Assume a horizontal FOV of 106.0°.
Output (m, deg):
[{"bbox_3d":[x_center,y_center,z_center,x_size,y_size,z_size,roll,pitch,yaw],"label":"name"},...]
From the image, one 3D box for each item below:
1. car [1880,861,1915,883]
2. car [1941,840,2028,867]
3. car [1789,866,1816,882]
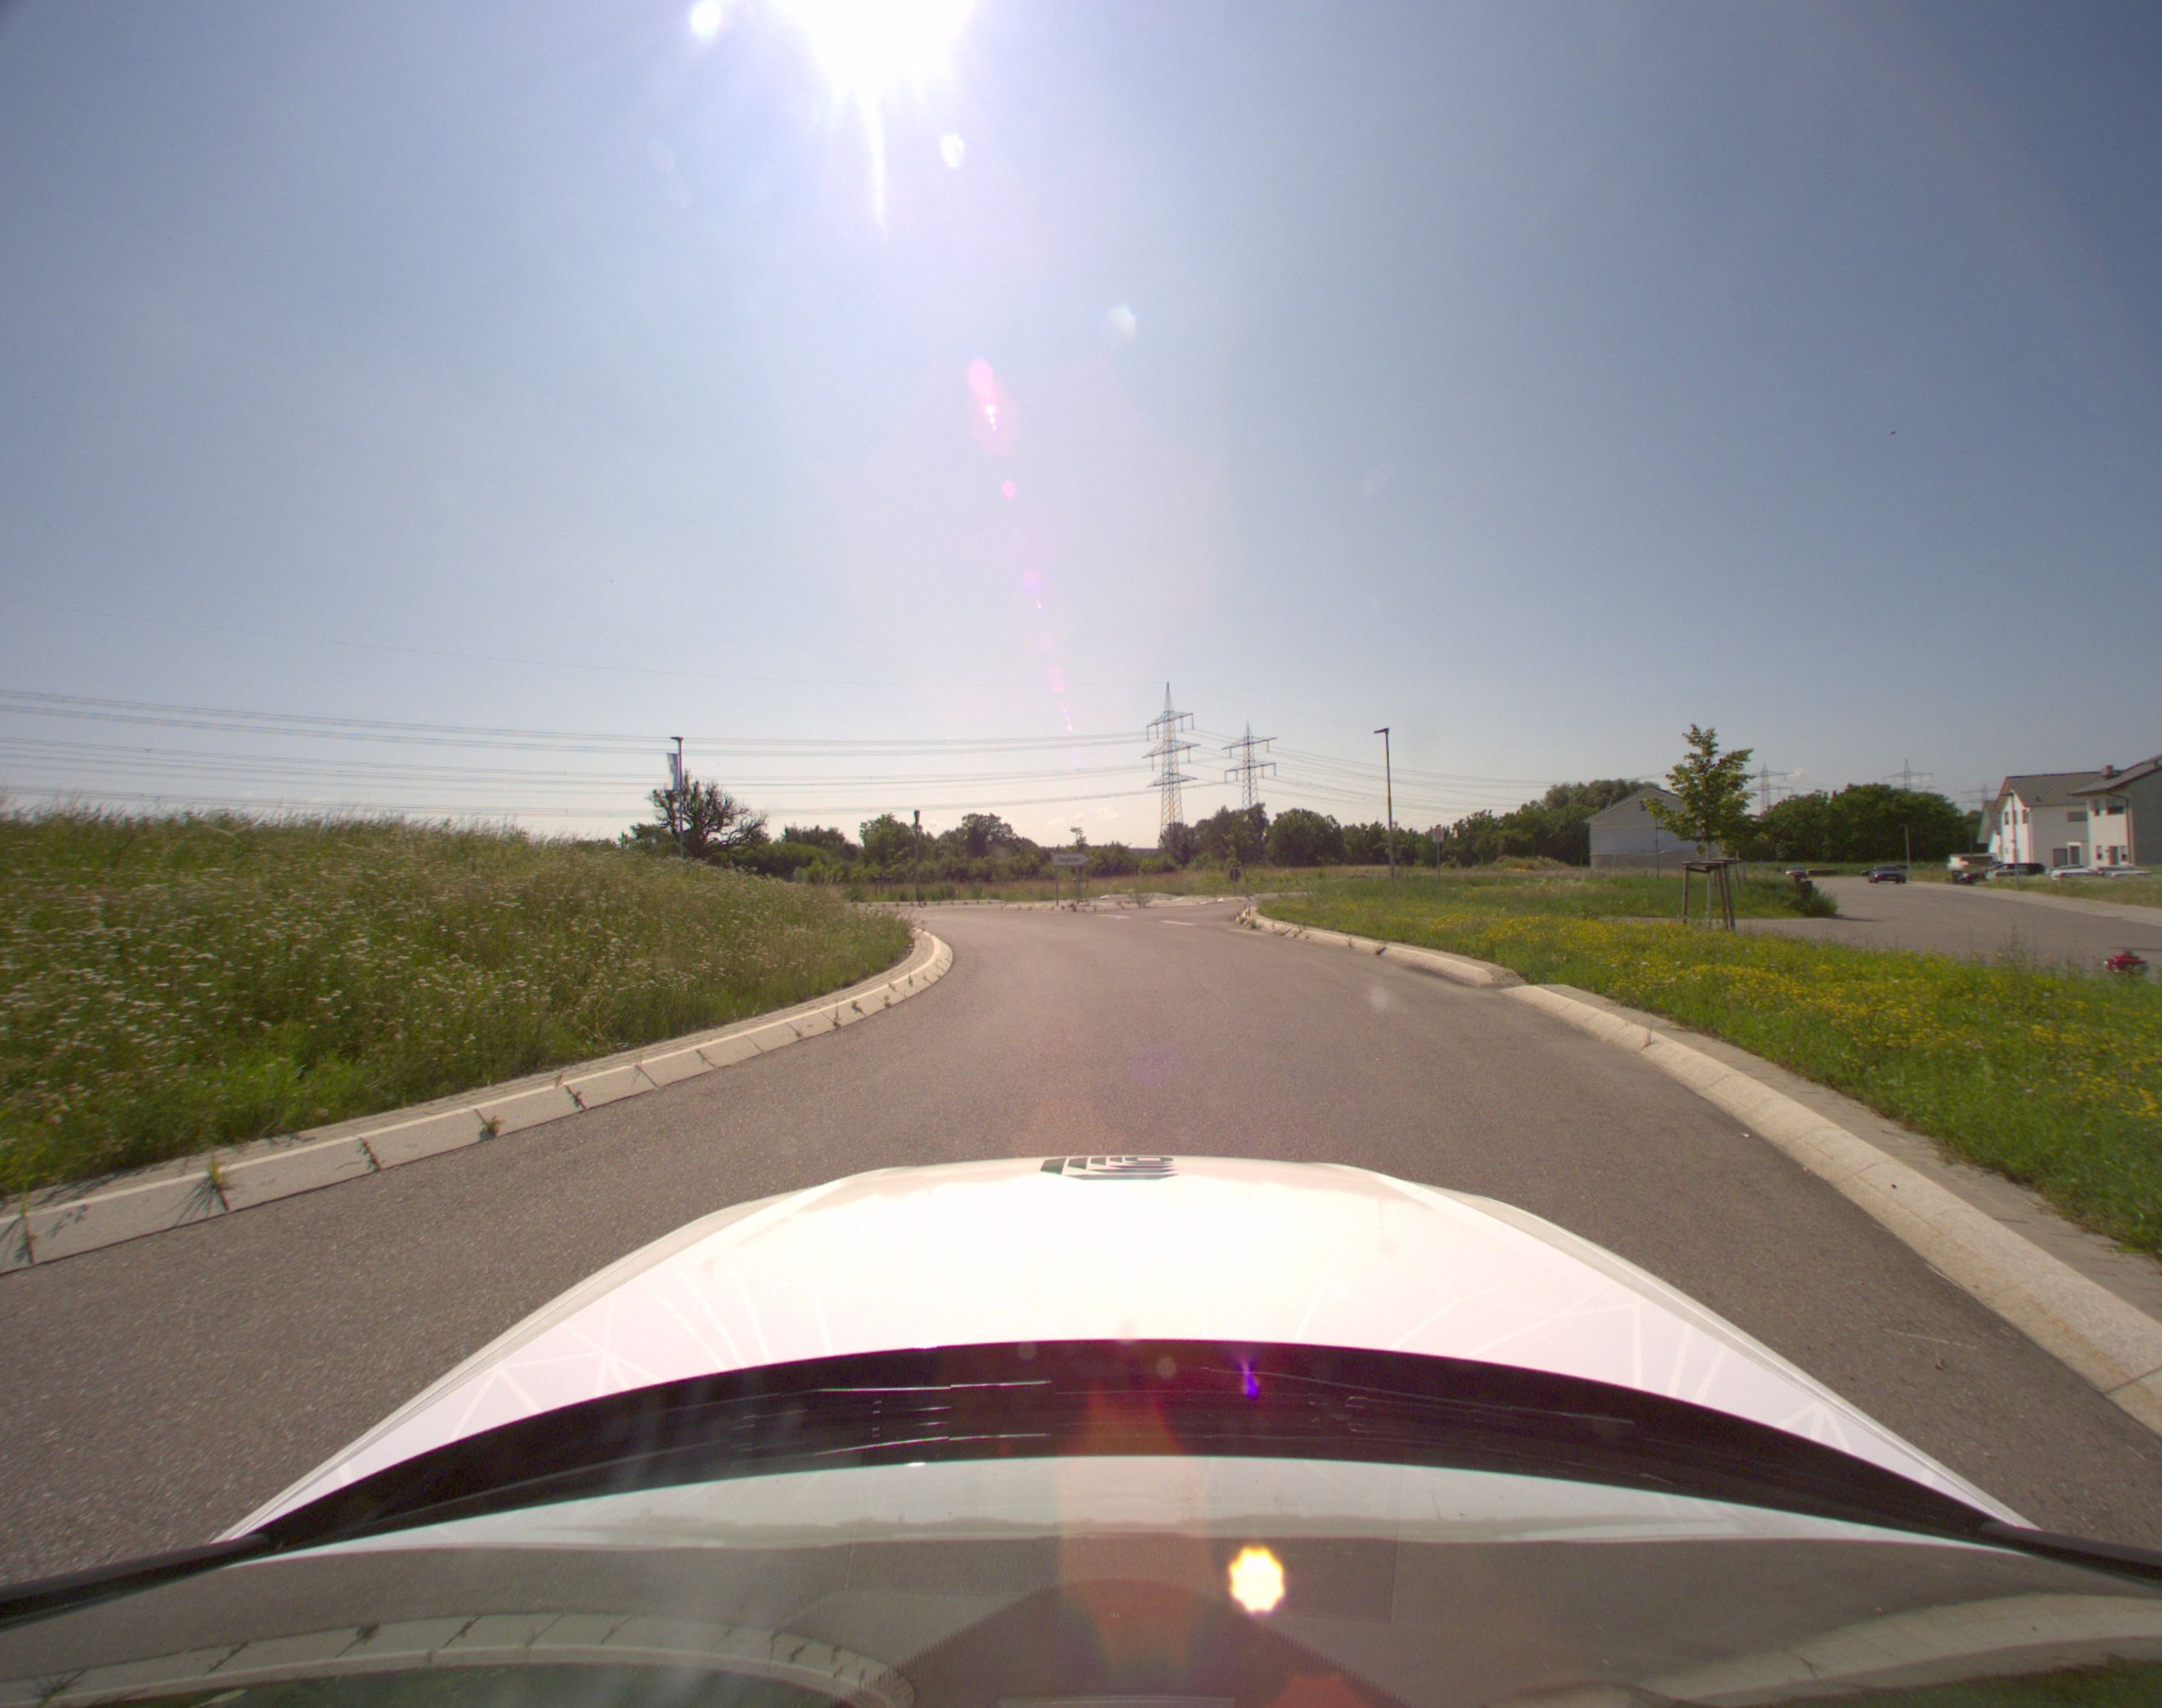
[{"bbox_3d":[65.348,1.426,65.146,3.504,1.662,1.661,1,-3,-40],"label":"car"},{"bbox_3d":[65.250,-0.010,58.910,3.949,1.794,2.012,-3,-2,42],"label":"car"},{"bbox_3d":[78.935,2.158,89.100,3.504,1.662,1.661,1,-3,-40],"label":"car"}]
